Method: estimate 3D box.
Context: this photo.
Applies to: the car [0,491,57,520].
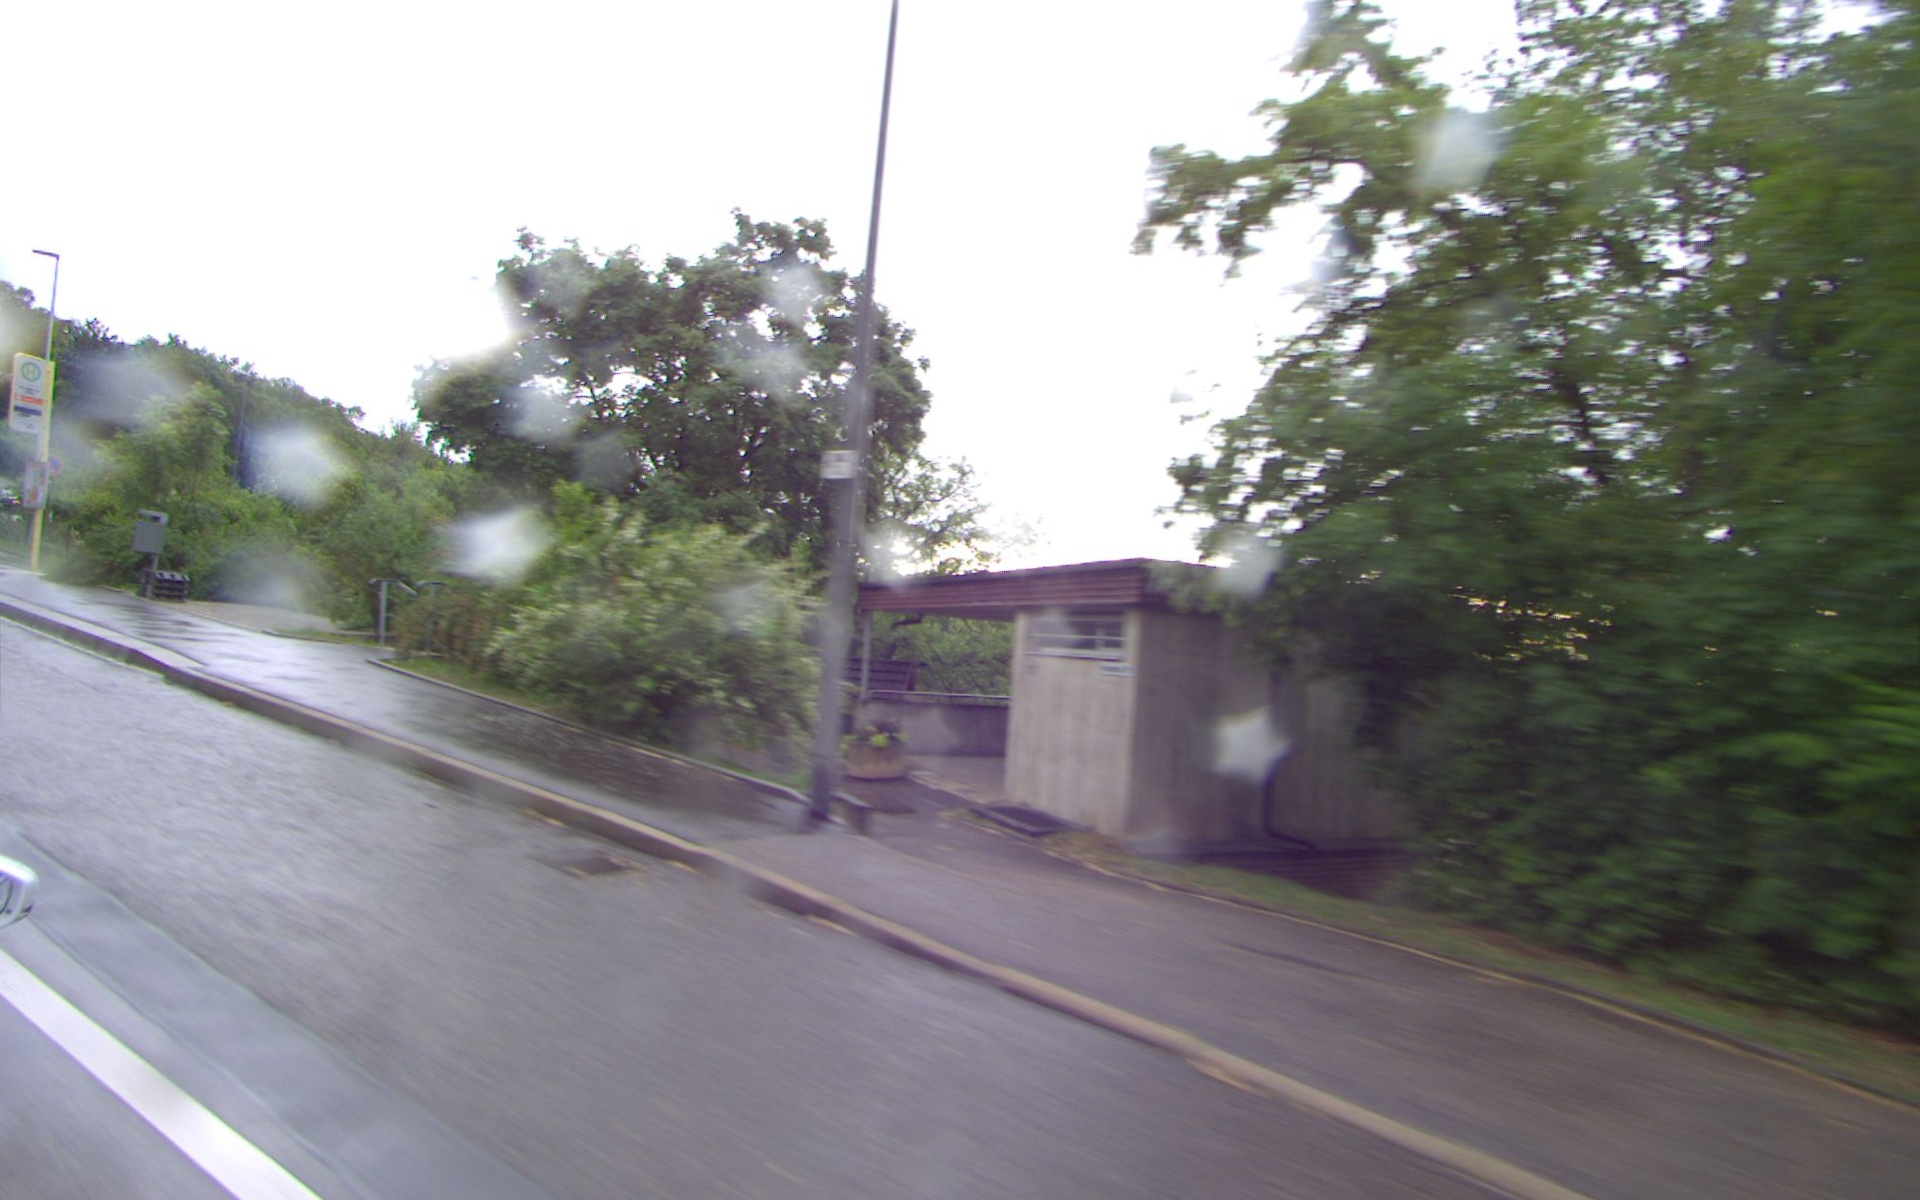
[{"bbox_3d":[-53.690,-5.420,57.412,1.706,1.434,3.982,4,2,-19],"label":"car"}]
